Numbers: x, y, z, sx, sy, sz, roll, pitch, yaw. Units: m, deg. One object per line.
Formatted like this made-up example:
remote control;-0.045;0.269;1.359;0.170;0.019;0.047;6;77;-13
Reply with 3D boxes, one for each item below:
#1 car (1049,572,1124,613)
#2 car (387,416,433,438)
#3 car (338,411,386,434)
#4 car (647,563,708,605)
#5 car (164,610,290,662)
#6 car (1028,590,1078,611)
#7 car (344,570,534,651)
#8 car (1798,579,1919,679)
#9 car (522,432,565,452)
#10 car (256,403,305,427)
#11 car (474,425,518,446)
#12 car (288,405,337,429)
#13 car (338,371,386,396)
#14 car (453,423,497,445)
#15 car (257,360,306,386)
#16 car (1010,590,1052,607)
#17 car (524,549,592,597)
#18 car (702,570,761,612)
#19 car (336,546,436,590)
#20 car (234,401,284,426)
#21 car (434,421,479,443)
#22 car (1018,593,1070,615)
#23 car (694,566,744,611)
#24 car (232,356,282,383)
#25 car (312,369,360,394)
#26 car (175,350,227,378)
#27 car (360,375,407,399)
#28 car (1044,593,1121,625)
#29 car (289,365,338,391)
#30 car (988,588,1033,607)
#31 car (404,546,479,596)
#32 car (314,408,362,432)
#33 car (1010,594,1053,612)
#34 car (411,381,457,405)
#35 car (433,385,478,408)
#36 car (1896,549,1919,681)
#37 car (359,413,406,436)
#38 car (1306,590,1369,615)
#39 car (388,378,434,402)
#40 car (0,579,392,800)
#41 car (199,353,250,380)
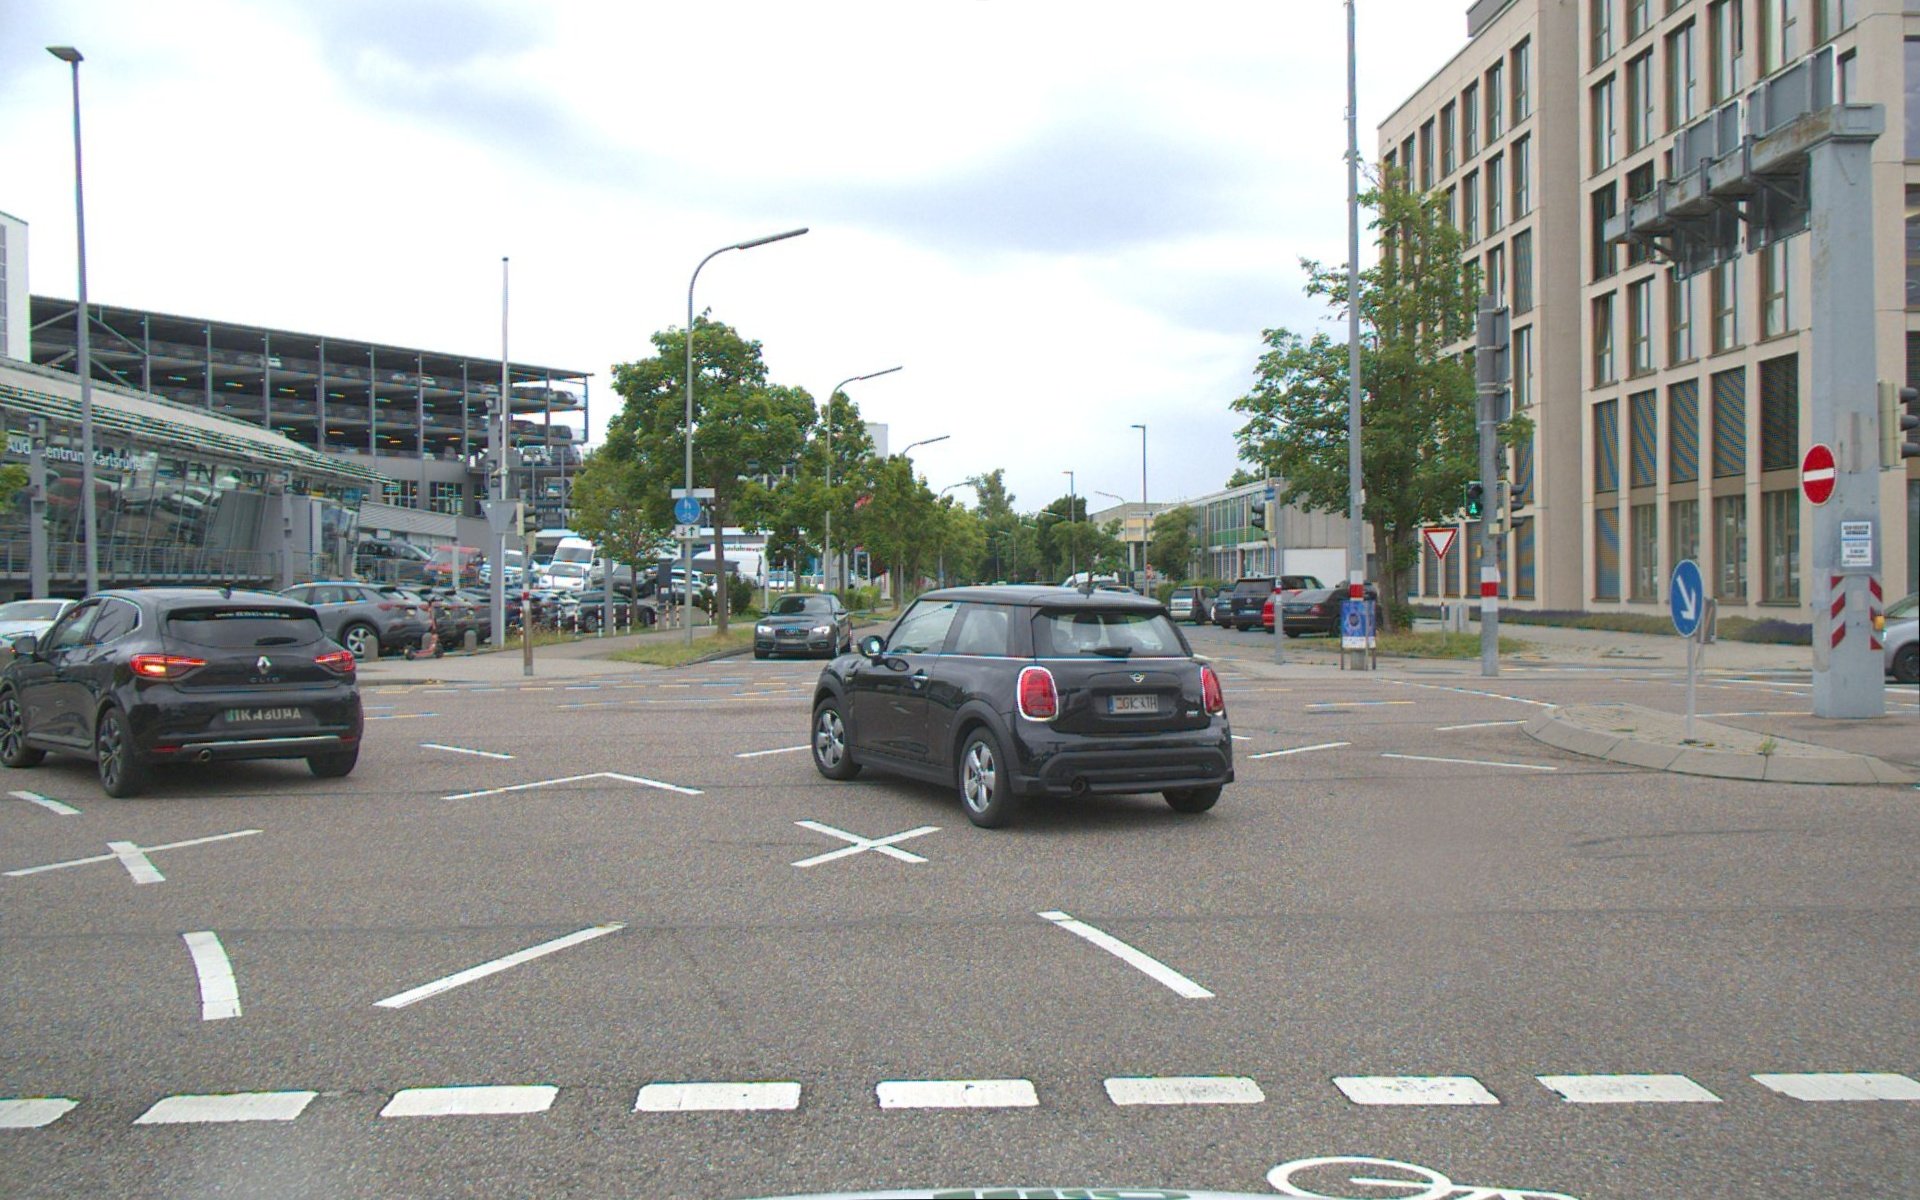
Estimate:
car;10.362;-0.612;135.891;5.992;3.171;2.134;1;-1;-1
car;-50.014;-15.723;150.459;3.916;1.696;1.994;0;0;33
car;-52.834;-15.671;146.076;3.916;1.696;1.994;0;0;33
car;-11.628;-0.635;68.329;1.954;1.646;3.998;1;-1;-3
car;-27.439;1.339;61.982;3.909;1.870;1.758;1;-1;-5
car;8.981;0.027;159.878;4.689;1.924;2.143;1;-1;-2
car;-14.508;0.296;46.294;4.681;2.049;1.998;-2;-1;-6
car;15.312;0.468;25.440;4.003;1.457;1.750;1;-1;-3
car;-41.504;-15.749;164.896;3.916;1.696;1.994;0;0;33
car;-57.352;-15.597;139.586;3.916;1.696;1.994;0;0;33
car;-44.794;-15.843;159.634;3.916;1.696;1.994;0;0;33
car;-55.510;-15.654;141.791;3.916;1.696;1.994;0;0;33
car;-52.874;-19.127;146.206;3.916;1.696;1.994;0;0;33
car;-46.090;-15.760;157.127;3.916;1.696;1.994;0;0;33
car;-57.152;-19.085;139.309;3.916;1.696;1.994;0;0;33
car;8.721;-0.177;203.159;5.068;2.049;2.143;1;-1;0
car;-16.526;-1.082;68.101;1.954;1.855;3.998;1;-1;-3
car;-9.510;-0.357;69.157;1.953;1.646;3.999;1;-1;-1
car;-26.036;-1.429;75.094;3.906;1.870;1.759;1;-1;-2
car;-58.268;-15.504;137.517;3.916;1.696;1.994;0;0;33
car;-47.240;-15.722;155.181;3.916;1.696;1.994;0;0;33
car;8.464;0.410;166.481;5.068;2.049;2.143;1;-1;0
car;-11.574;-0.510;79.649;1.954;2.049;3.998;1;-1;-3
car;-58.441;-19.133;137.459;3.916;1.696;1.994;0;0;33
car;-54.281;-18.995;143.922;3.916;1.696;1.994;0;0;33
car;-61.052;-18.983;133.049;3.916;1.696;1.994;0;0;33
car;-51.580;-19.071;148.011;3.916;1.696;1.994;0;0;33
car;8.349;0.618;113.269;5.069;2.049;2.143;1;-1;-2
car;-55.452;-19.042;141.927;3.916;1.696;1.994;0;0;33
car;5.759;-0.230;189.287;5.068;2.049;2.143;1;-1;0
car;-21.343;-1.167;68.282;1.954;1.881;3.998;1;-1;-3
car;-54.156;-15.668;143.899;3.916;1.696;1.994;0;0;33
car;8.574;0.398;199.800;5.068;2.049;2.143;1;-1;0
car;-48.621;-19.129;152.935;3.916;1.696;1.994;0;0;33
car;-47.477;-19.117;155.600;3.916;1.696;1.994;0;0;33
car;15.238;0.242;22.153;4.320;1.800;1.999;1;-1;-3
car;-51.648;-15.652;147.912;3.916;1.696;1.994;0;0;33
car;21.648;0.155;94.882;3.180;1.356;1.478;1;-1;-18
car;-50.001;-19.101;150.652;3.916;1.696;1.994;0;0;33
car;-6.152;0.571;12.971;1.749;1.459;3.935;0;1;-44
car;-60.060;-19.091;135.086;3.916;1.696;1.994;0;0;33
